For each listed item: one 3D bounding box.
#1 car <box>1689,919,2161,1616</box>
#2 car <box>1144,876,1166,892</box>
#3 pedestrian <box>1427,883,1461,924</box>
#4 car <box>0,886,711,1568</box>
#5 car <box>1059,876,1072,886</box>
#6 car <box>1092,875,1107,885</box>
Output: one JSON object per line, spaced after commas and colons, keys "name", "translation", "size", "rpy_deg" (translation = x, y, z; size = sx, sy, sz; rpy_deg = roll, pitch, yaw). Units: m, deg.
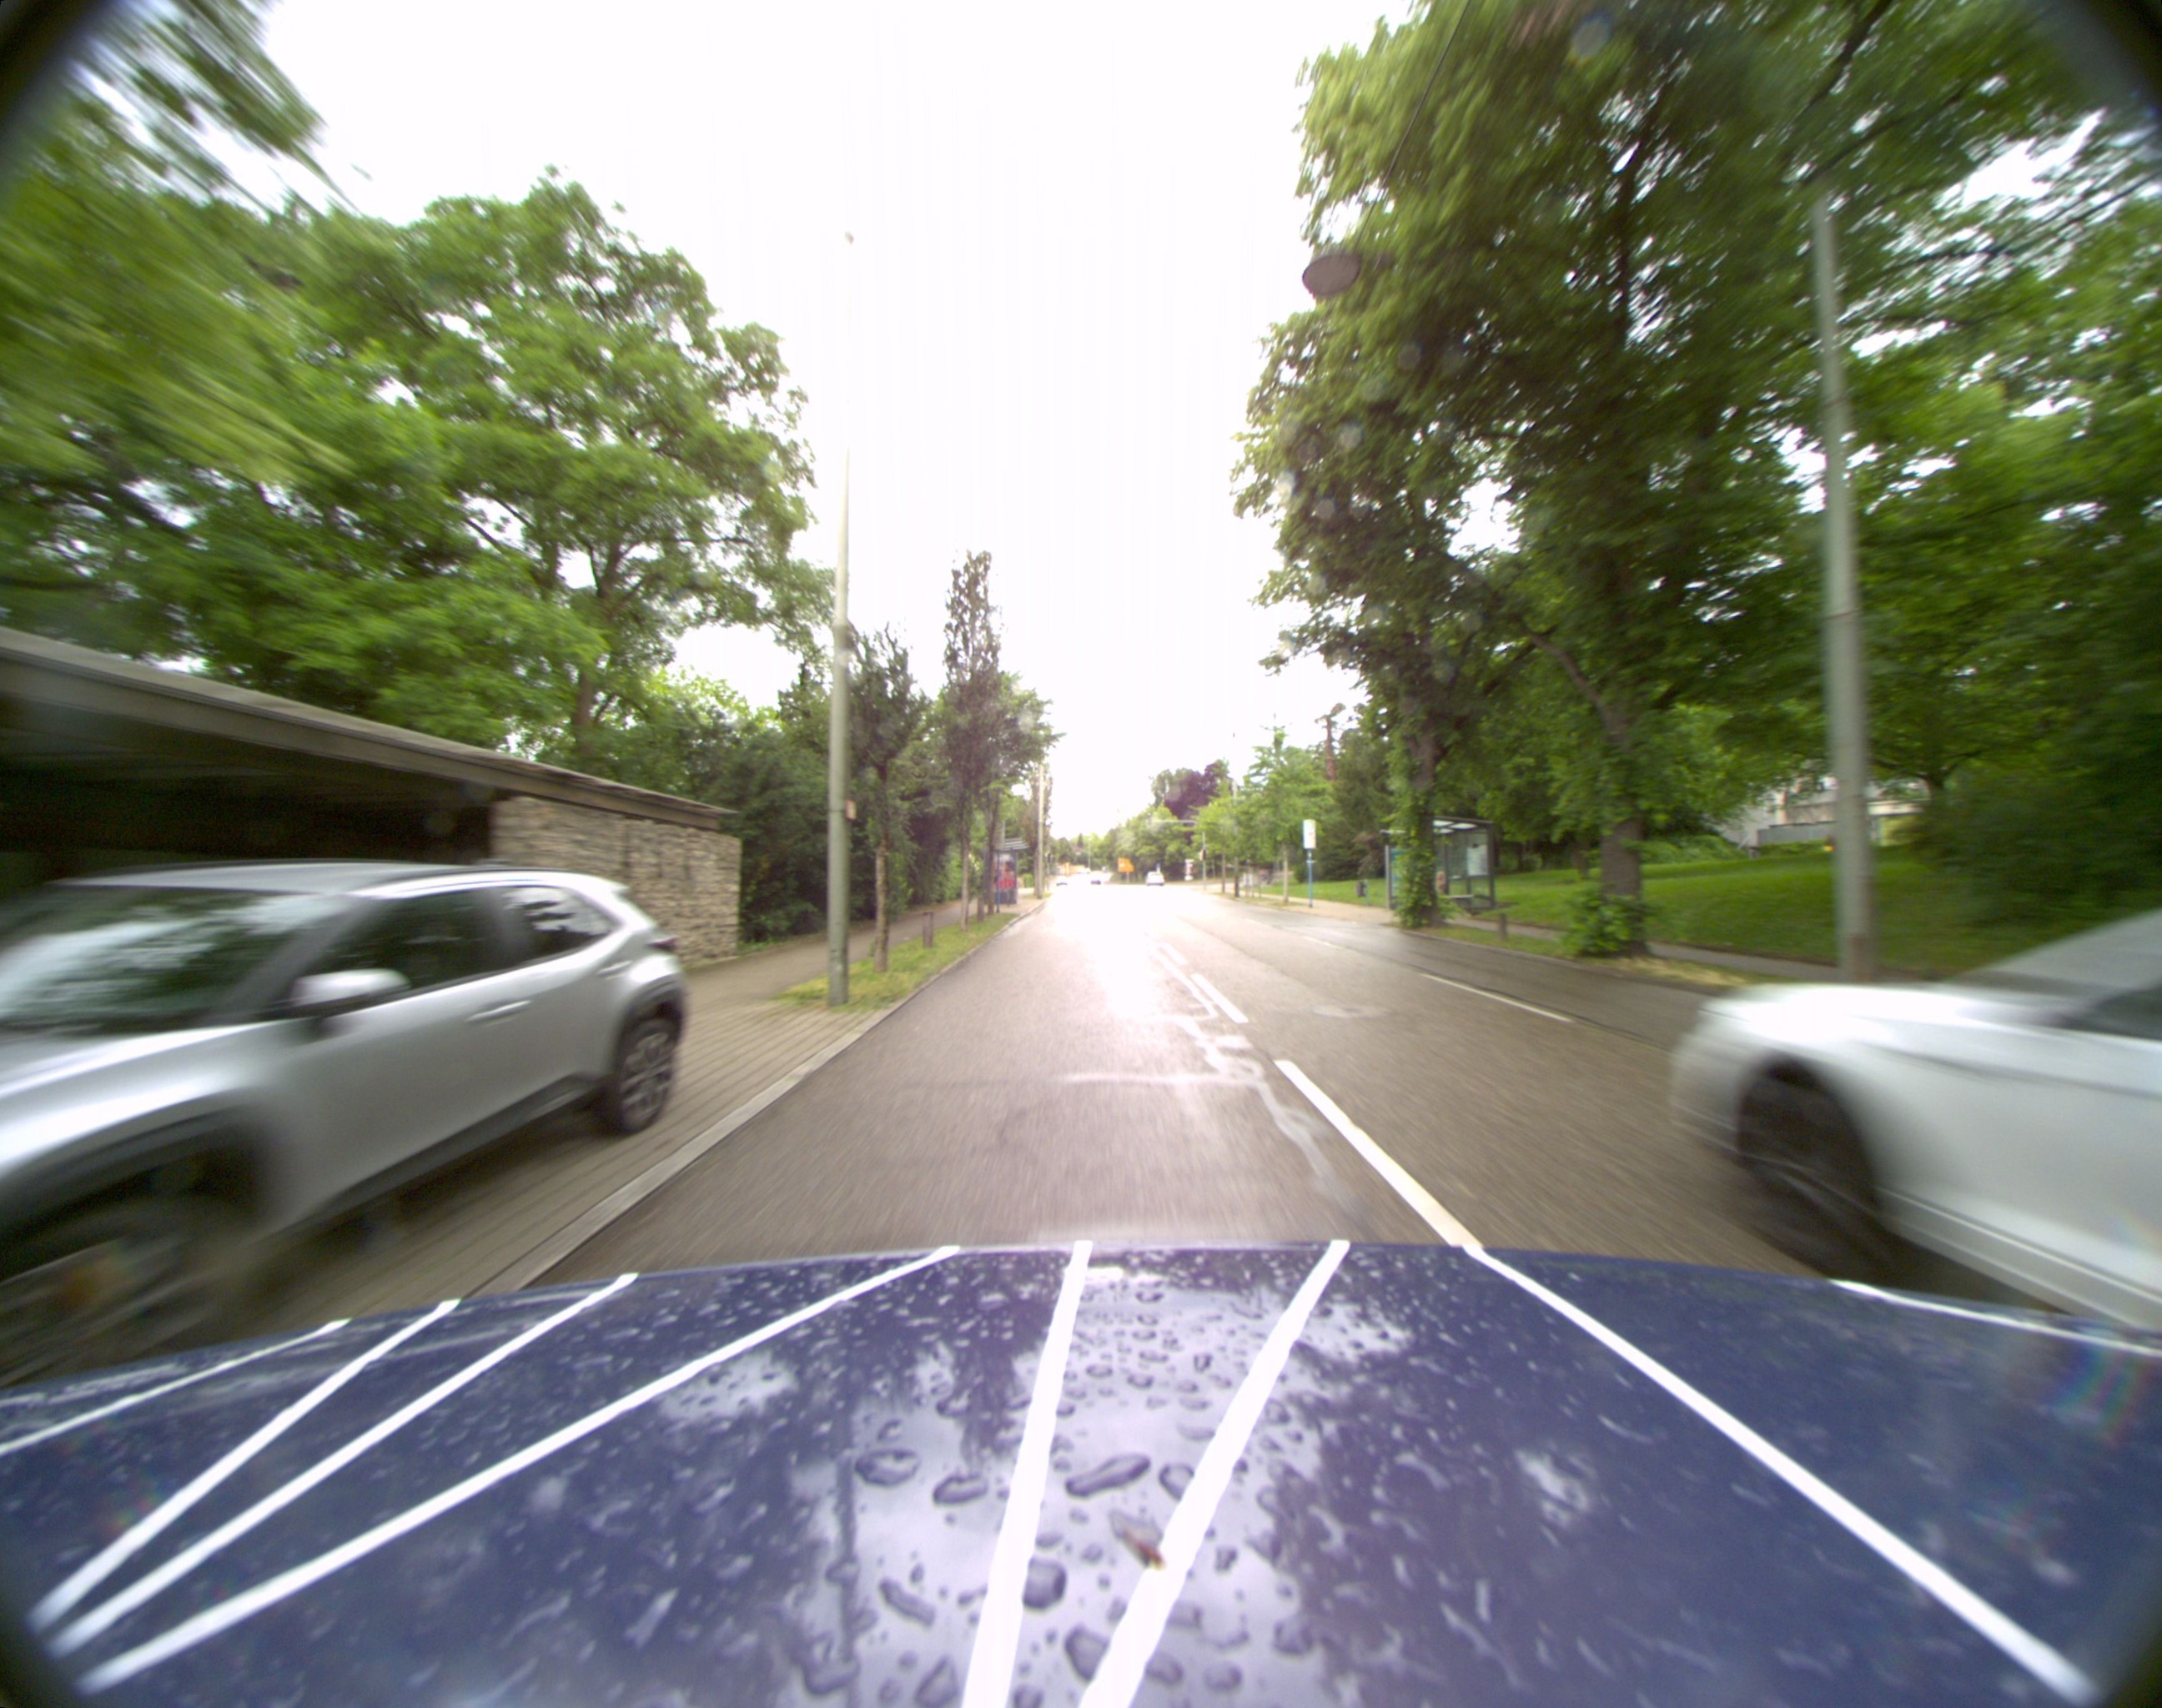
{"name": "car", "translation": [3.401, 1.018, 1.104], "size": [1.798, 1.500, 4.094], "rpy_deg": [0, 0, 1]}
{"name": "car", "translation": [7.492, 3.054, 77.073], "size": [1.876, 1.539, 4.001], "rpy_deg": [2, -2, 1]}
{"name": "pedestrian", "translation": [11.965, 1.626, 25.067], "size": [0.777, 1.293, 0.745], "rpy_deg": [-1, -1, 8]}
{"name": "car", "translation": [-3.512, 0.947, 3.002], "size": [1.923, 1.557, 4.222], "rpy_deg": [2, -2, 1]}
{"name": "car", "translation": [-2.658, 4.648, 131.471], "size": [1.998, 1.673, 4.002], "rpy_deg": [-3, -2, 3]}
{"name": "car", "translation": [3.445, 4.829, 141.713], "size": [1.878, 1.540, 3.996], "rpy_deg": [2, 0, -10]}
